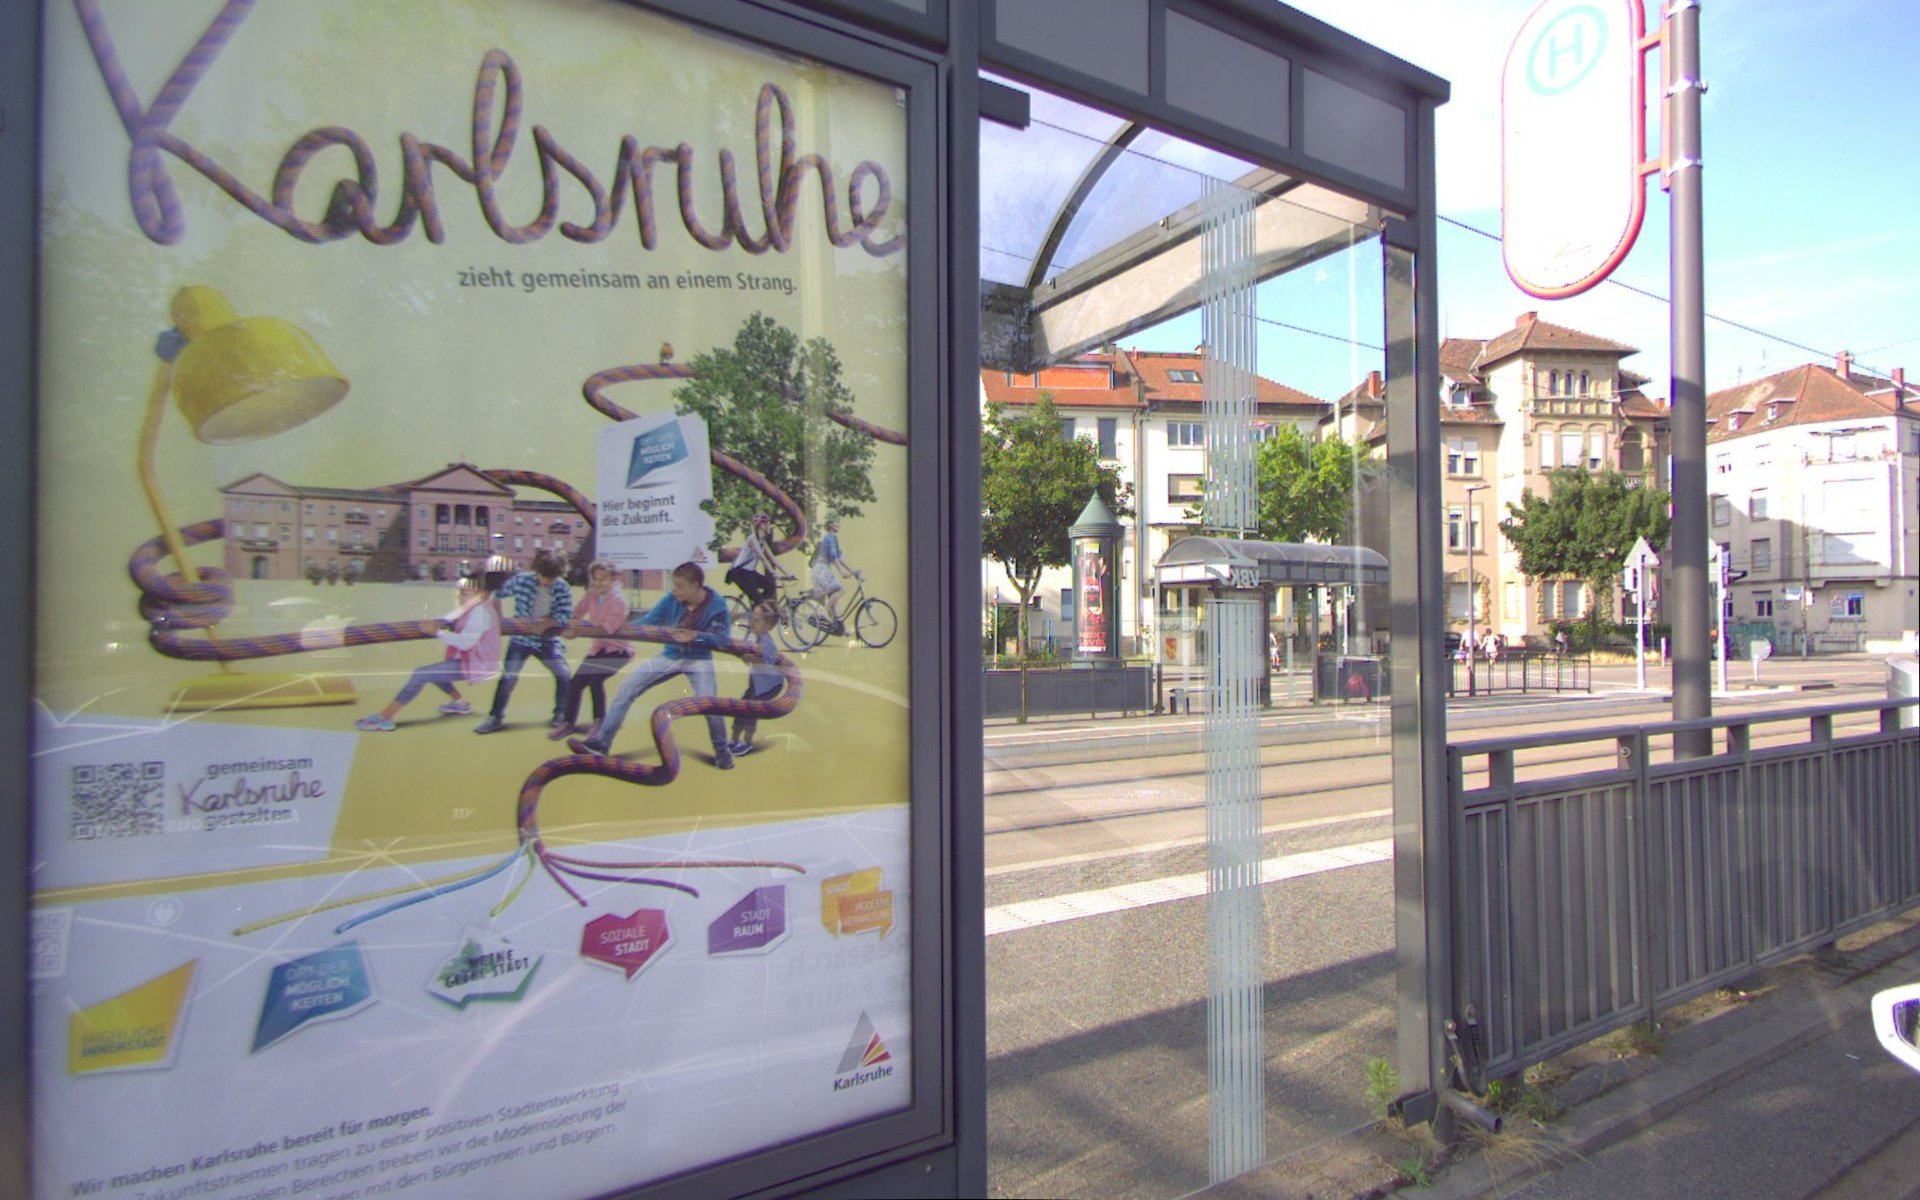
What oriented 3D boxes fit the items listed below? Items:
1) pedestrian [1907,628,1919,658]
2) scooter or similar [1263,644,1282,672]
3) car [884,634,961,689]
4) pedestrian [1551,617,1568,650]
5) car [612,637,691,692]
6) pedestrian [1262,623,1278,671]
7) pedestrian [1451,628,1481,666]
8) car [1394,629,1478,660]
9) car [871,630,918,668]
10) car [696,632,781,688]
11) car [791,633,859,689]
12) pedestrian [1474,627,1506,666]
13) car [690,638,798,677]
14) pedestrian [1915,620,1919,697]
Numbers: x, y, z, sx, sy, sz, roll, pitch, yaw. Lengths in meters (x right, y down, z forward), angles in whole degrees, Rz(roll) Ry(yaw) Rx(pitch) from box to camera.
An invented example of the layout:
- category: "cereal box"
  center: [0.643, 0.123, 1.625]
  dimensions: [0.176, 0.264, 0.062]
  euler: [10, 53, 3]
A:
- category: "pedestrian"
  center: [50.557, 2.287, 53.053]
  dimensions: [0.702, 1.561, 0.626]
  euler: [1, -2, -31]
- category: "scooter or similar"
  center: [11.388, 2.105, 36.599]
  dimensions: [0.546, 1.001, 1.024]
  euler: [-1, -2, 12]
- category: "car"
  center: [-1.174, 1.772, 29.860]
  dimensions: [1.815, 1.505, 3.994]
  euler: [0, -2, -9]
- category: "pedestrian"
  center: [27.753, 1.544, 46.505]
  dimensions: [0.540, 1.520, 0.437]
  euler: [0, -2, -16]
- category: "car"
  center: [-8.692, 1.741, 28.205]
  dimensions: [1.968, 1.416, 3.985]
  euler: [0, -2, -18]
- category: "pedestrian"
  center: [11.548, 1.759, 37.471]
  dimensions: [0.538, 1.769, 0.763]
  euler: [-1, -2, 17]
- category: "pedestrian"
  center: [20.992, 1.937, 41.681]
  dimensions: [0.768, 1.572, 0.831]
  euler: [0, -2, -9]
- category: "car"
  center: [23.341, 2.152, 49.431]
  dimensions: [1.732, 1.327, 4.111]
  euler: [1, 0, -8]
- category: "car"
  center: [-3.056, 2.229, 46.221]
  dimensions: [1.963, 1.684, 3.996]
  euler: [0, -2, -7]
- category: "car"
  center: [-6.374, 1.686, 29.249]
  dimensions: [1.813, 1.505, 3.999]
  euler: [0, -2, -4]
- category: "car"
  center: [-3.986, 1.738, 29.290]
  dimensions: [1.815, 1.505, 3.994]
  euler: [0, -2, -9]
- category: "pedestrian"
  center: [21.558, 1.871, 40.878]
  dimensions: [0.768, 1.572, 0.831]
  euler: [0, -2, -9]
- category: "car"
  center: [-8.140, 2.174, 38.205]
  dimensions: [3.928, 1.416, 1.836]
  euler: [0, -2, -10]
- category: "pedestrian"
  center: [21.072, 1.248, 21.372]
  dimensions: [0.778, 1.667, 0.757]
  euler: [-1, -2, 16]
